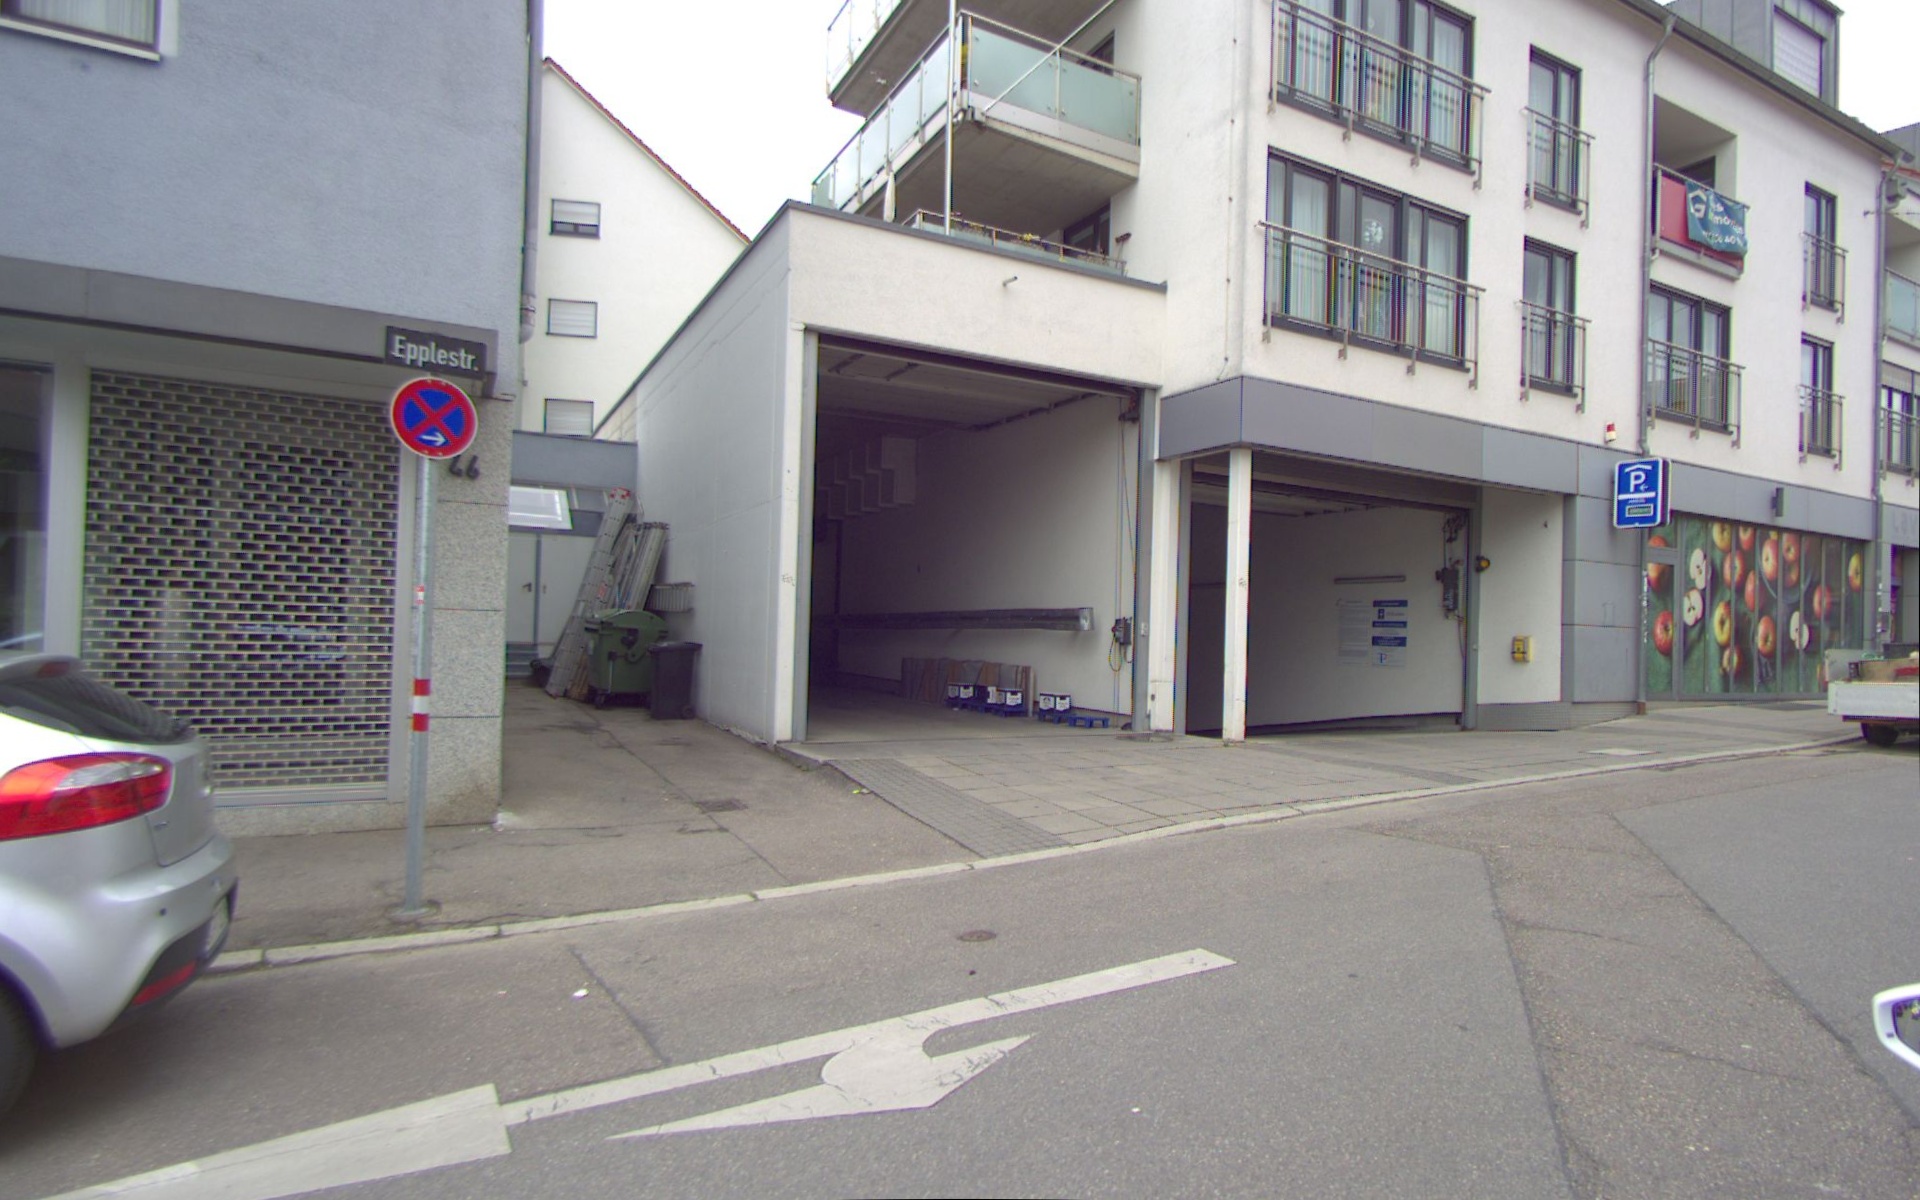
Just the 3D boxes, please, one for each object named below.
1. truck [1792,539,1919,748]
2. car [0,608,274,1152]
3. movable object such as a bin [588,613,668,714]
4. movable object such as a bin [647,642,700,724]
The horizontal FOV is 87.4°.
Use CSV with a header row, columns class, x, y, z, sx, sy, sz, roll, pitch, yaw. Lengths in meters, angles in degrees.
class,x,y,z,sx,sy,sz,roll,pitch,yaw
truck,14.180,0.562,13.628,6.231,2.498,2.403,1,-2,-30
car,-4.316,0.740,2.659,3.952,1.430,1.790,1,-2,-30
movable object such as a bin,-4.912,0.921,14.867,1.063,1.454,0.532,1,-1,-26
movable object such as a bin,-3.926,1.129,13.776,0.630,1.081,0.336,1,-1,-28
